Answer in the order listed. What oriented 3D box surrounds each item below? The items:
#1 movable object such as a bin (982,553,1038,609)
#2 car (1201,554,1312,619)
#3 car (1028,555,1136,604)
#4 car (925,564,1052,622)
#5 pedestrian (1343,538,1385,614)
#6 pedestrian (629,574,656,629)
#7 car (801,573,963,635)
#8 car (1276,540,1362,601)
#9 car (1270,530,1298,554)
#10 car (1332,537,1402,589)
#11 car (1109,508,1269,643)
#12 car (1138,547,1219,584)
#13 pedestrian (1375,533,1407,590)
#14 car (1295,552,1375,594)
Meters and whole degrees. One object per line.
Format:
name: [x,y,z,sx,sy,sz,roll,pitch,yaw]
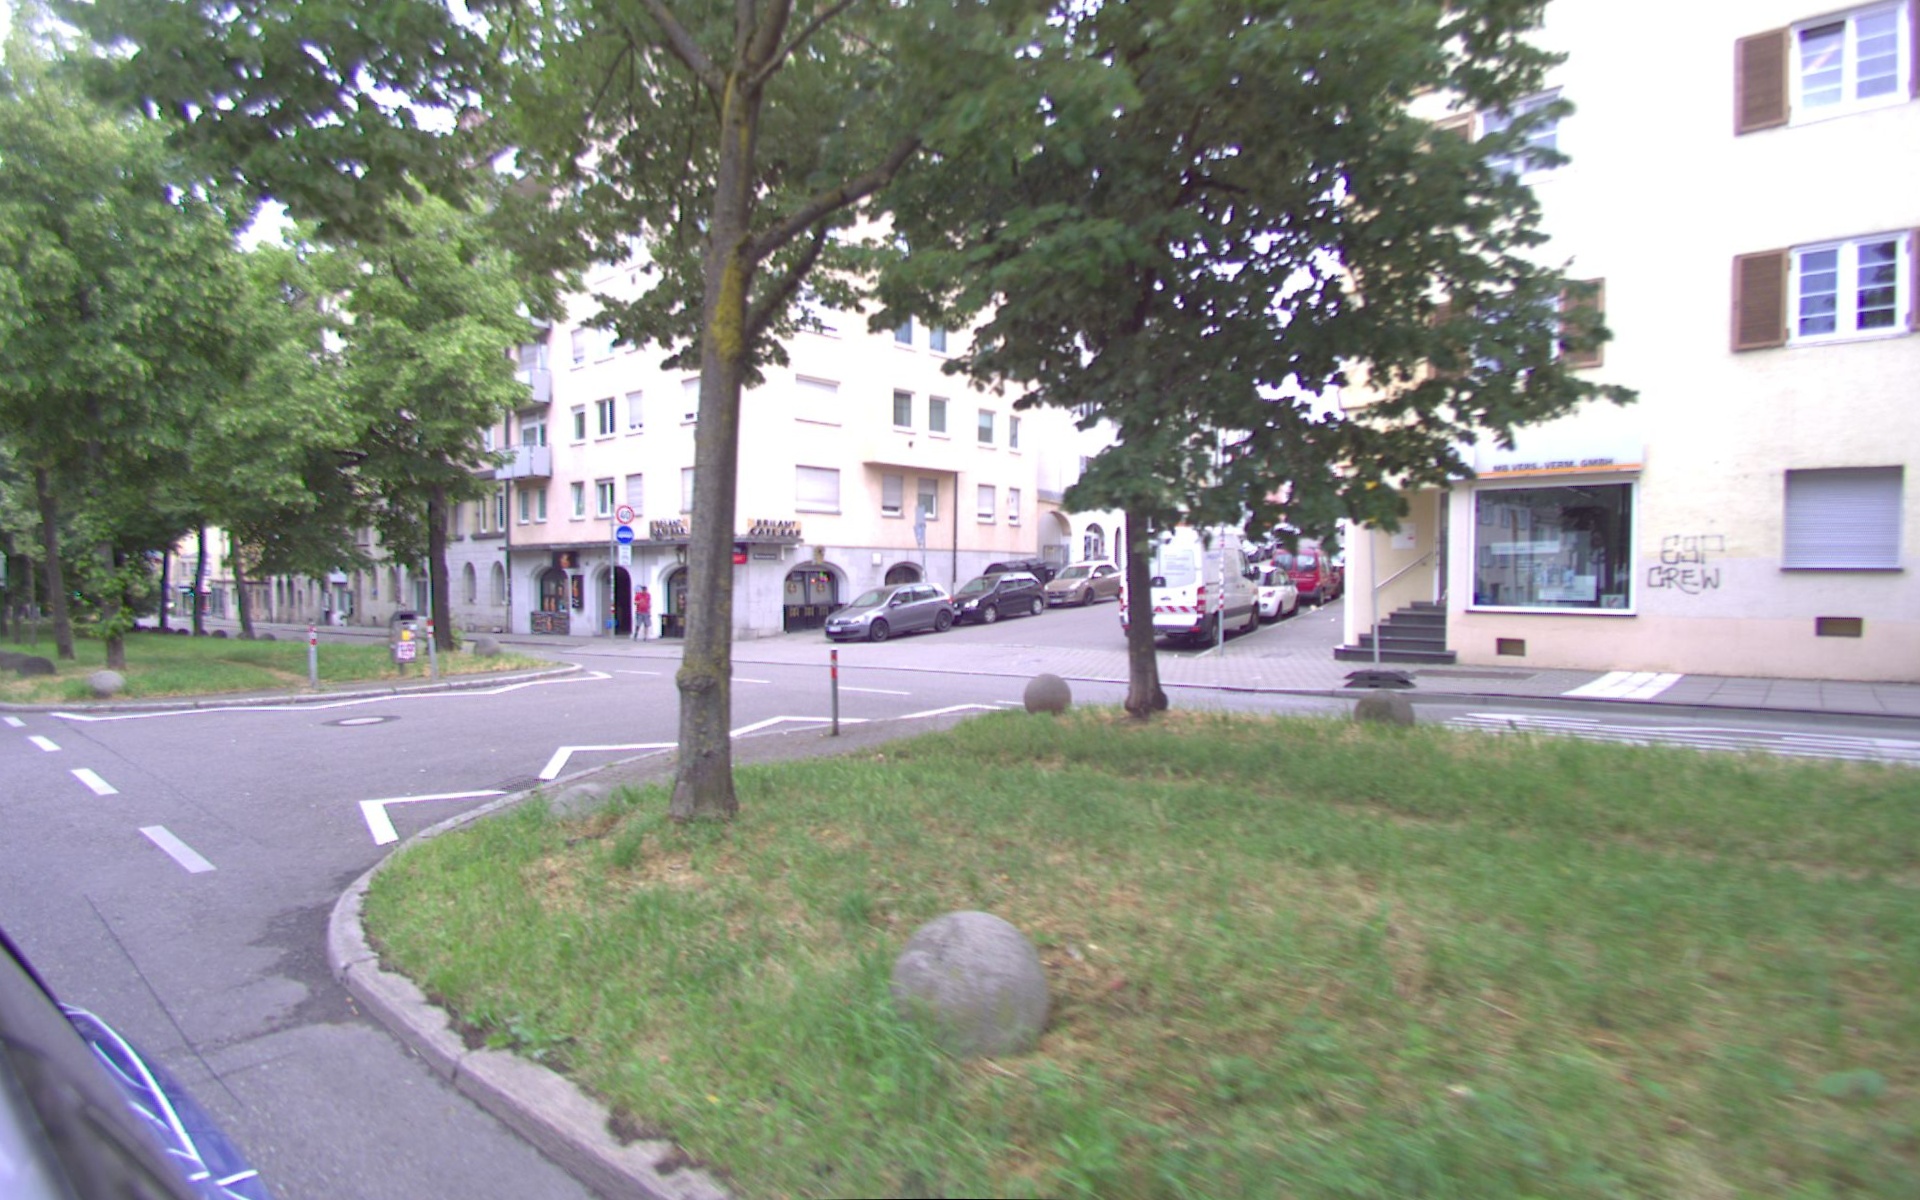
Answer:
movable object such as a bin: [1.880,-0.724,37.876,1.094,2.028,1.972,0,2,42]
car: [8.390,-0.426,28.334,1.992,1.648,4.726,-1,2,29]
car: [4.365,-0.751,35.819,1.902,1.430,3.991,0,5,40]
car: [0.963,-0.264,31.904,1.997,1.430,3.951,0,5,38]
pedestrian: [10.986,-0.647,27.537,0.818,2.029,0.803,-1,1,41]
pedestrian: [-9.757,0.042,31.078,0.701,1.679,0.526,0,0,43]
car: [-2.117,0.074,28.446,2.048,1.430,4.242,-1,2,43]
car: [11.775,-0.958,33.037,1.802,1.837,3.956,0,1,33]
car: [25.143,-4.473,78.514,1.984,1.791,3.976,0,2,19]
car: [17.003,-1.543,42.134,1.994,2.028,3.956,0,1,33]
car: [5.479,-0.699,23.609,2.168,2.756,5.139,-1,5,30]
car: [9.473,-1.499,43.721,1.996,1.453,3.951,-1,2,36]
pedestrian: [15.587,-1.390,36.605,0.818,2.029,0.803,-1,1,41]
car: [14.053,-1.020,37.803,1.994,1.475,3.956,0,2,33]
